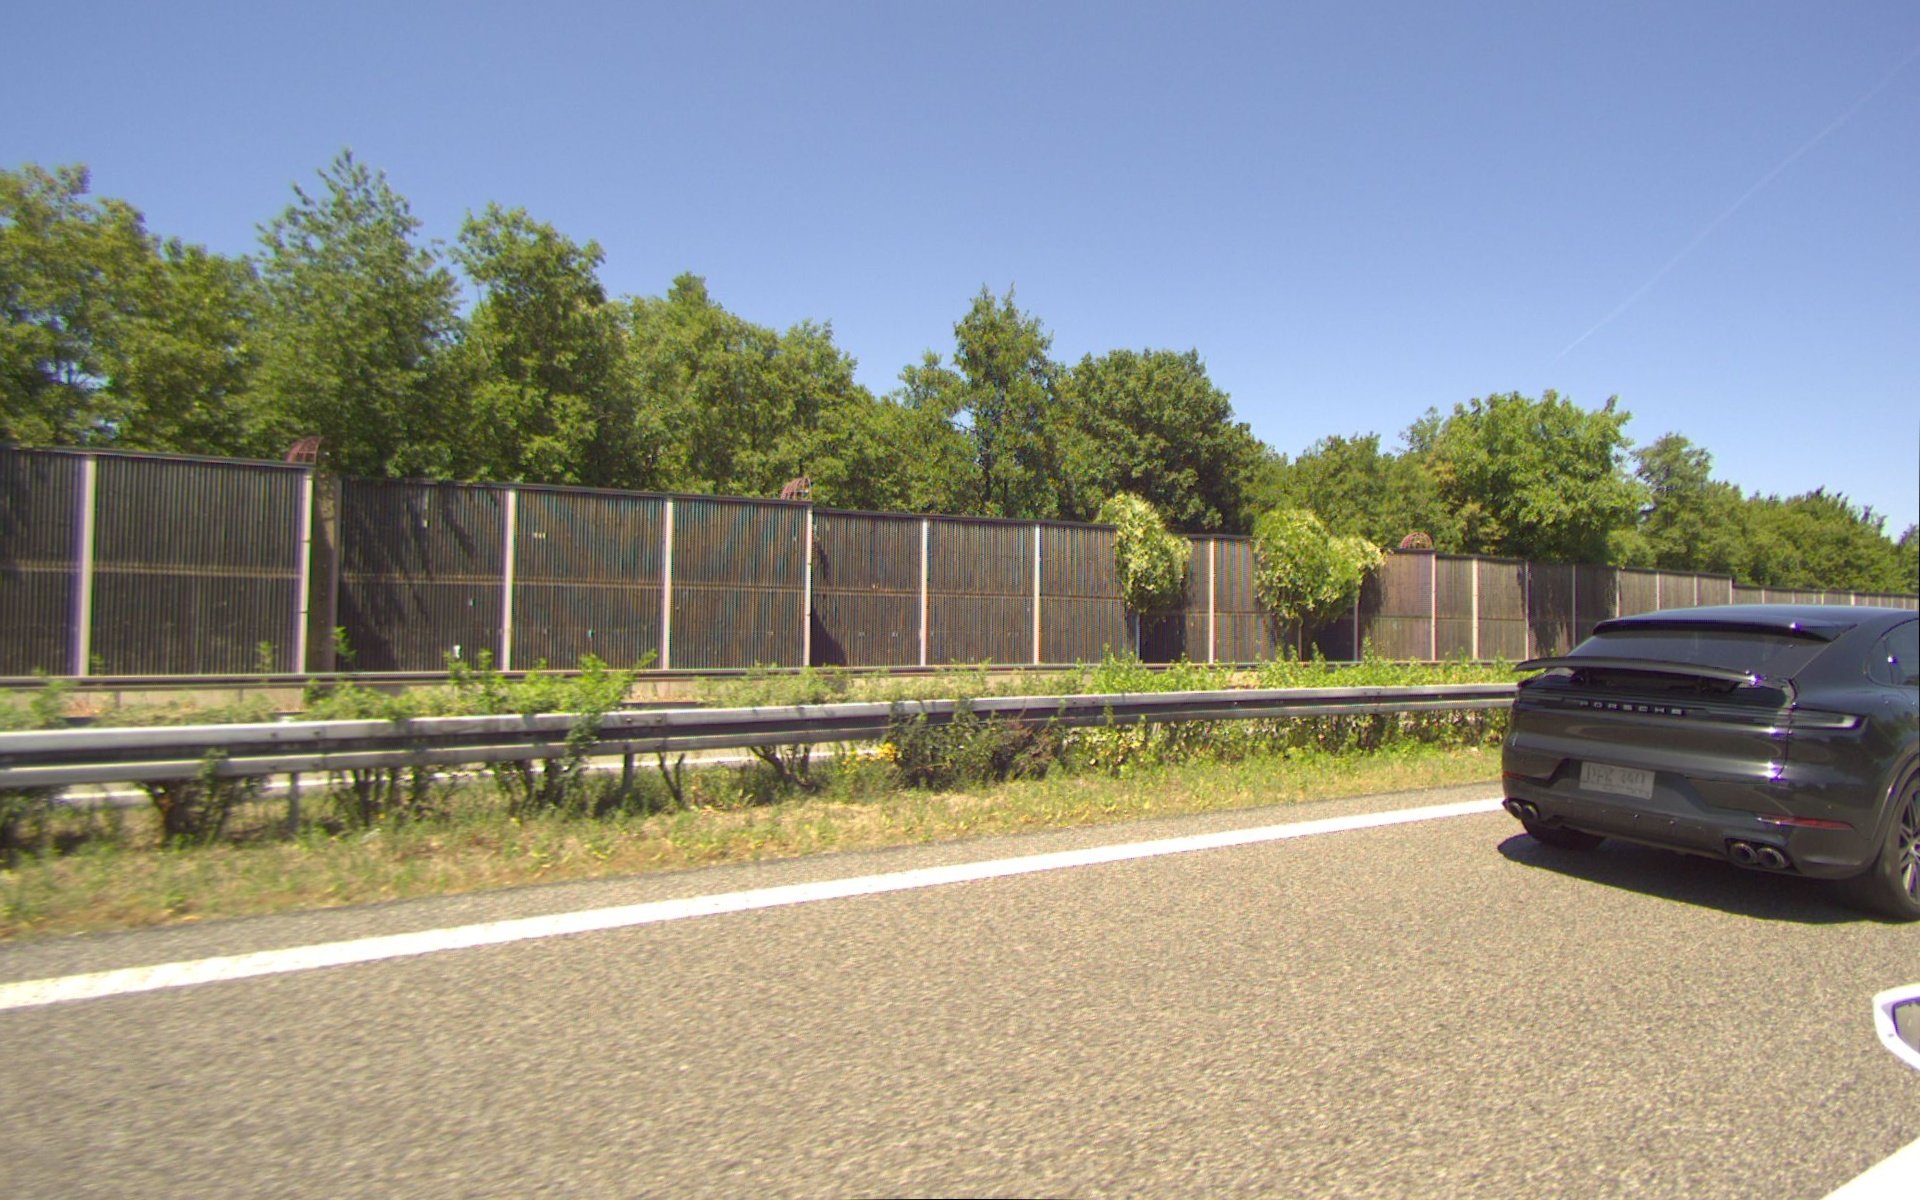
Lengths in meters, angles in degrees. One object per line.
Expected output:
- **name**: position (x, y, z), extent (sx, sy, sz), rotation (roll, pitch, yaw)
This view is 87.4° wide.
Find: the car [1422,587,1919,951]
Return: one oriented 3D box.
- **car**: position (5.873, 0.827, 6.871), extent (5.703, 1.646, 2.034), rotation (1, -1, -30)
